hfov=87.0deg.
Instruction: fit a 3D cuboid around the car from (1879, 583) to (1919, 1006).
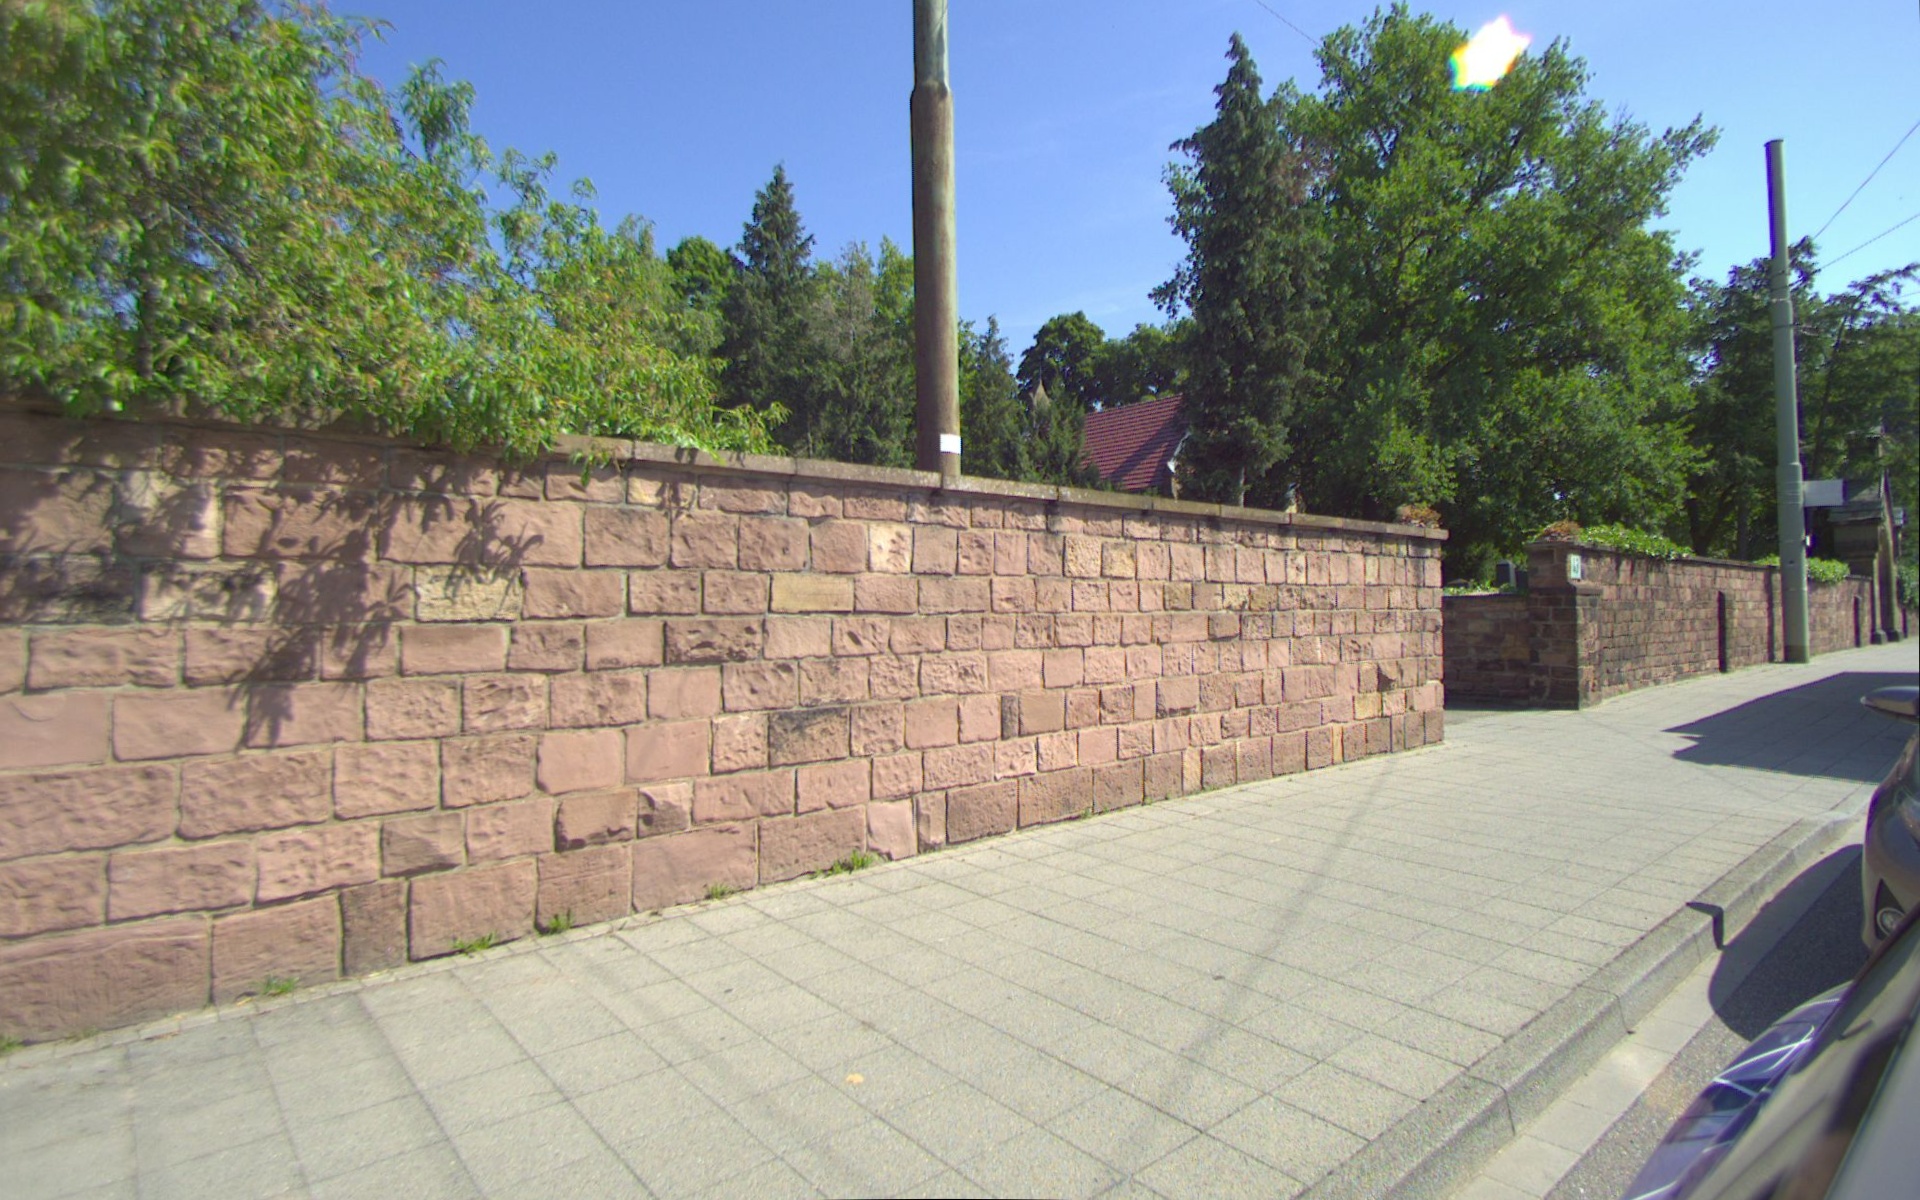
[{"bbox_3d":[5.124,0.643,4.096,3.930,1.400,1.653,0,0,-41],"label":"car"}]
